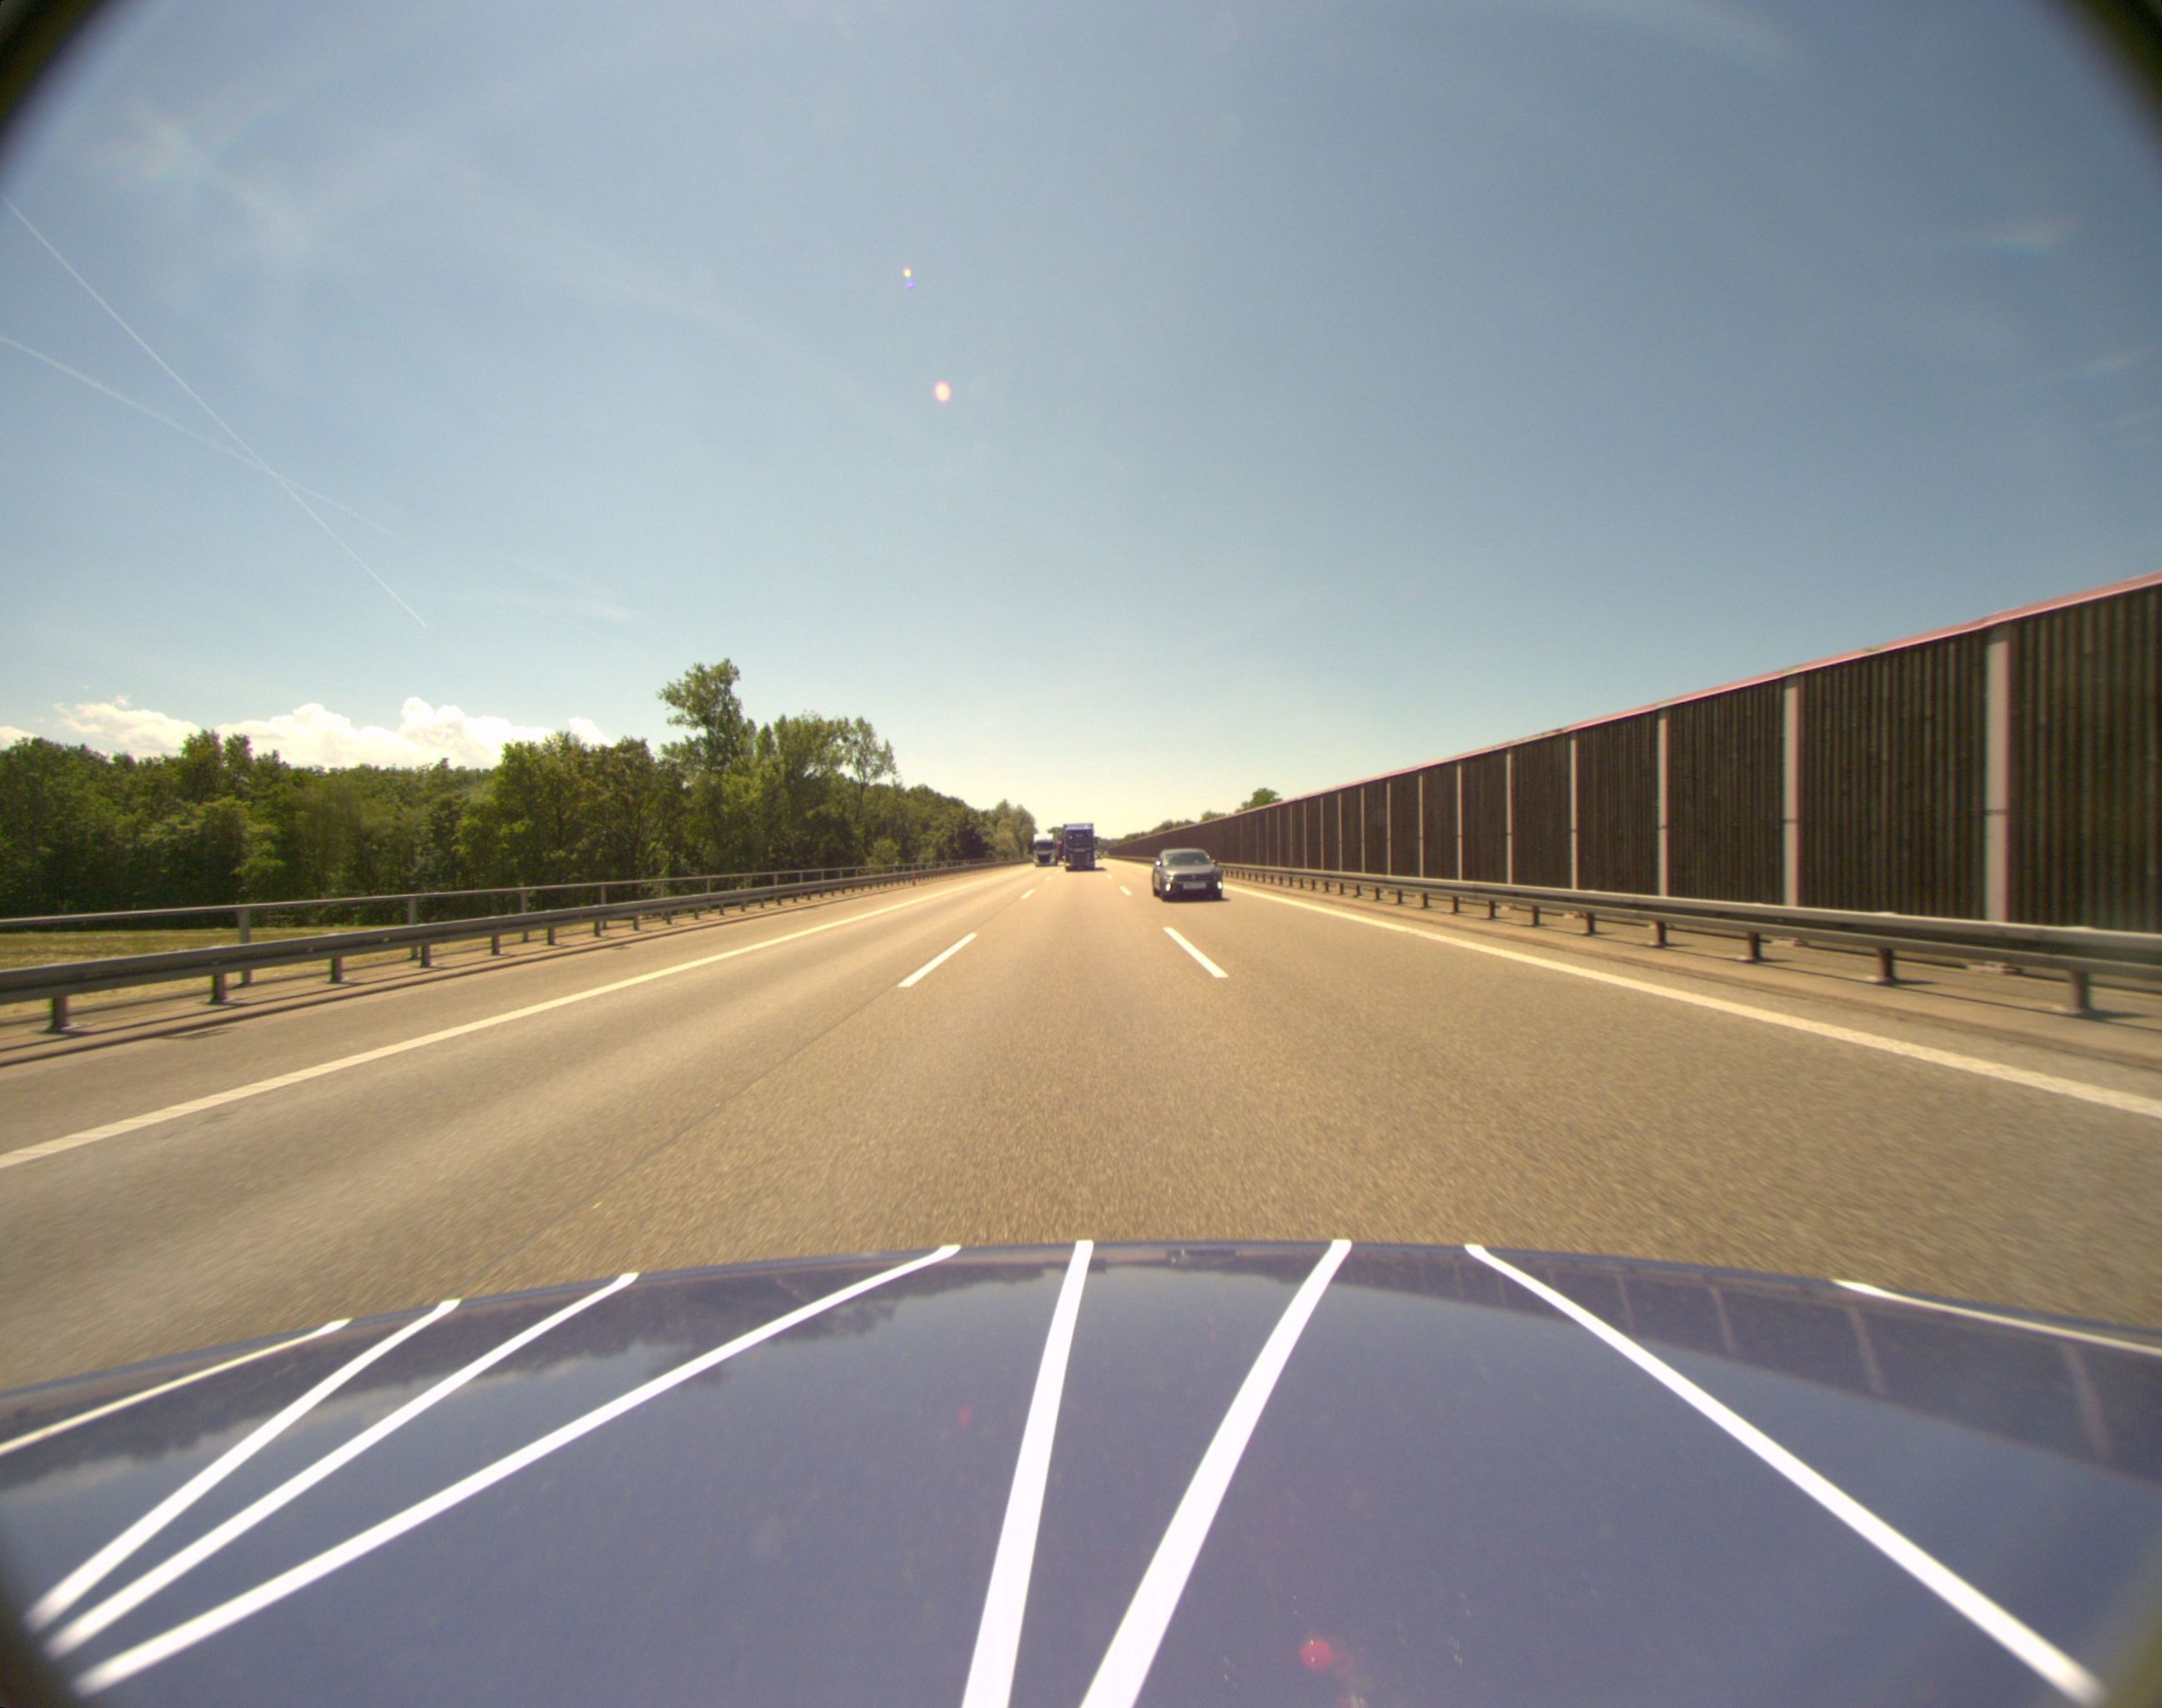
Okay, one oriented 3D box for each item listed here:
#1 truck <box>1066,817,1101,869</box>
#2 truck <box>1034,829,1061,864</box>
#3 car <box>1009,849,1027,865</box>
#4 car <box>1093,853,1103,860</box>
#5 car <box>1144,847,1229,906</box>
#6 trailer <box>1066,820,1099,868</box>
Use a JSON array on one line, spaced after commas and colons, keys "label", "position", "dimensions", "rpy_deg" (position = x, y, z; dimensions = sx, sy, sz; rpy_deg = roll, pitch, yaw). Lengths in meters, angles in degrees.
[{"label": "truck", "position": [0.173, -0.900, 64.795], "dimensions": [2.707, 4.094, 6.990], "rpy_deg": [-2, 0, 0]}, {"label": "truck", "position": [-4.100, -0.906, 96.153], "dimensions": [2.820, 4.139, 10.447], "rpy_deg": [-2, 0, 0]}, {"label": "car", "position": [-7.788, 0.369, 93.947], "dimensions": [1.936, 1.805, 3.999], "rpy_deg": [-2, 0, -1]}, {"label": "car", "position": [3.831, 0.549, 172.584], "dimensions": [2.045, 1.559, 4.000], "rpy_deg": [-2, 0, 1]}, {"label": "car", "position": [3.217, 0.652, 24.198], "dimensions": [1.885, 1.630, 5.008], "rpy_deg": [-2, 0, -1]}, {"label": "trailer", "position": [0.171, -0.867, 72.049], "dimensions": [2.707, 4.093, 12.131], "rpy_deg": [-2, 0, 0]}]
